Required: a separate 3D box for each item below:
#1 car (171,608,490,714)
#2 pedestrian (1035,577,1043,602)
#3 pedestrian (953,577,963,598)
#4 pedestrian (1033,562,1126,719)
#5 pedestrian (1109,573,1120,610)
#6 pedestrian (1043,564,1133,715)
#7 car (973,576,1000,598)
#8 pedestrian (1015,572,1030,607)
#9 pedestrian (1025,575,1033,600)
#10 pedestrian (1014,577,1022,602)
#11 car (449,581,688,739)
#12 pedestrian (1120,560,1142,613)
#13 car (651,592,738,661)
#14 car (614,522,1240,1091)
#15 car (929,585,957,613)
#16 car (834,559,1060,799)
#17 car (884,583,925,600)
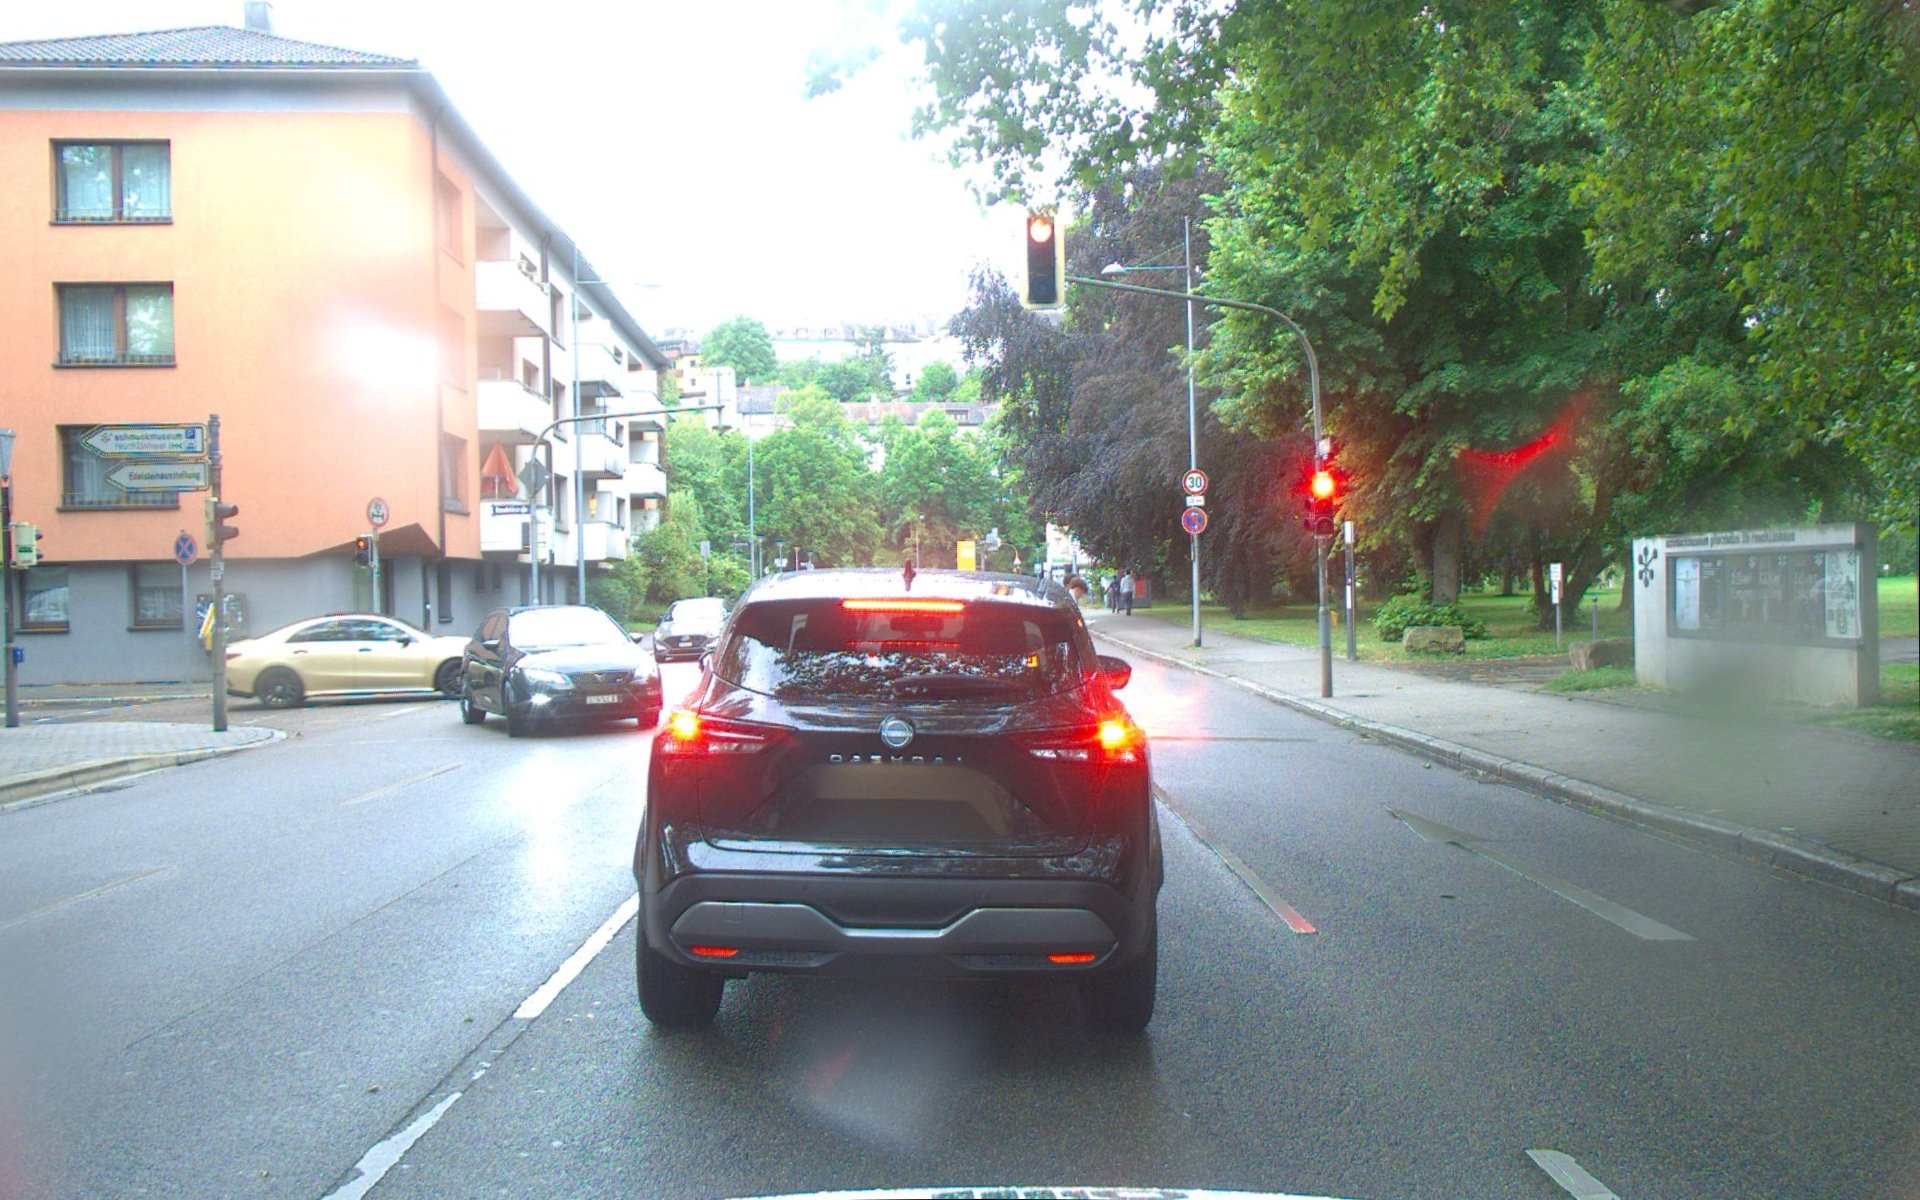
[{"bbox_3d":[-10.031,0.945,26.723,4.556,1.428,1.825,-2,0,-14],"label":"car"},{"bbox_3d":[5.895,-0.782,123.491,0.498,1.833,0.619,-2,0,-2],"label":"pedestrian"},{"bbox_3d":[-0.174,-1.043,135.149,0.498,1.702,0.658,-2,0,27],"label":"pedestrian"},{"bbox_3d":[1.476,0.490,20.486,1.017,1.909,0.656,0,0,-11],"label":"pedestrian"},{"bbox_3d":[6.521,-0.357,69.705,0.382,1.528,0.559,-2,0,-1],"label":"pedestrian"},{"bbox_3d":[1.638,0.495,21.239,1.017,1.909,0.656,0,0,-11],"label":"pedestrian"},{"bbox_3d":[2.187,-1.051,136.419,1.952,1.765,4.002,1,0,4],"label":"car"},{"bbox_3d":[3.333,-0.571,88.122,0.501,1.833,0.615,-2,0,-23],"label":"pedestrian"},{"bbox_3d":[5.167,-0.957,123.450,0.498,1.833,0.658,-2,0,-4],"label":"pedestrian"},{"bbox_3d":[4.356,-0.809,124.097,0.498,1.833,0.619,-2,0,-1],"label":"pedestrian"},{"bbox_3d":[-4.879,0.672,20.181,1.825,1.654,4.099,-2,0,-28],"label":"car"},{"bbox_3d":[6.716,-0.519,65.166,0.710,2.049,0.851,-2,0,-1],"label":"pedestrian"},{"bbox_3d":[-6.506,0.606,40.871,1.760,1.560,3.864,-2,0,-4],"label":"car"},{"bbox_3d":[-0.119,0.610,6.981,1.874,1.709,3.999,0,0,-1],"label":"car"},{"bbox_3d":[-1.035,-0.079,98.630,1.601,1.559,3.967,-2,0,-1],"label":"car"},{"bbox_3d":[-0.125,0.588,14.436,1.664,1.776,3.640,-2,0,-1],"label":"car"},{"bbox_3d":[-5.755,-0.899,170.334,3.915,1.559,1.623,-2,0,-31],"label":"car"}]
